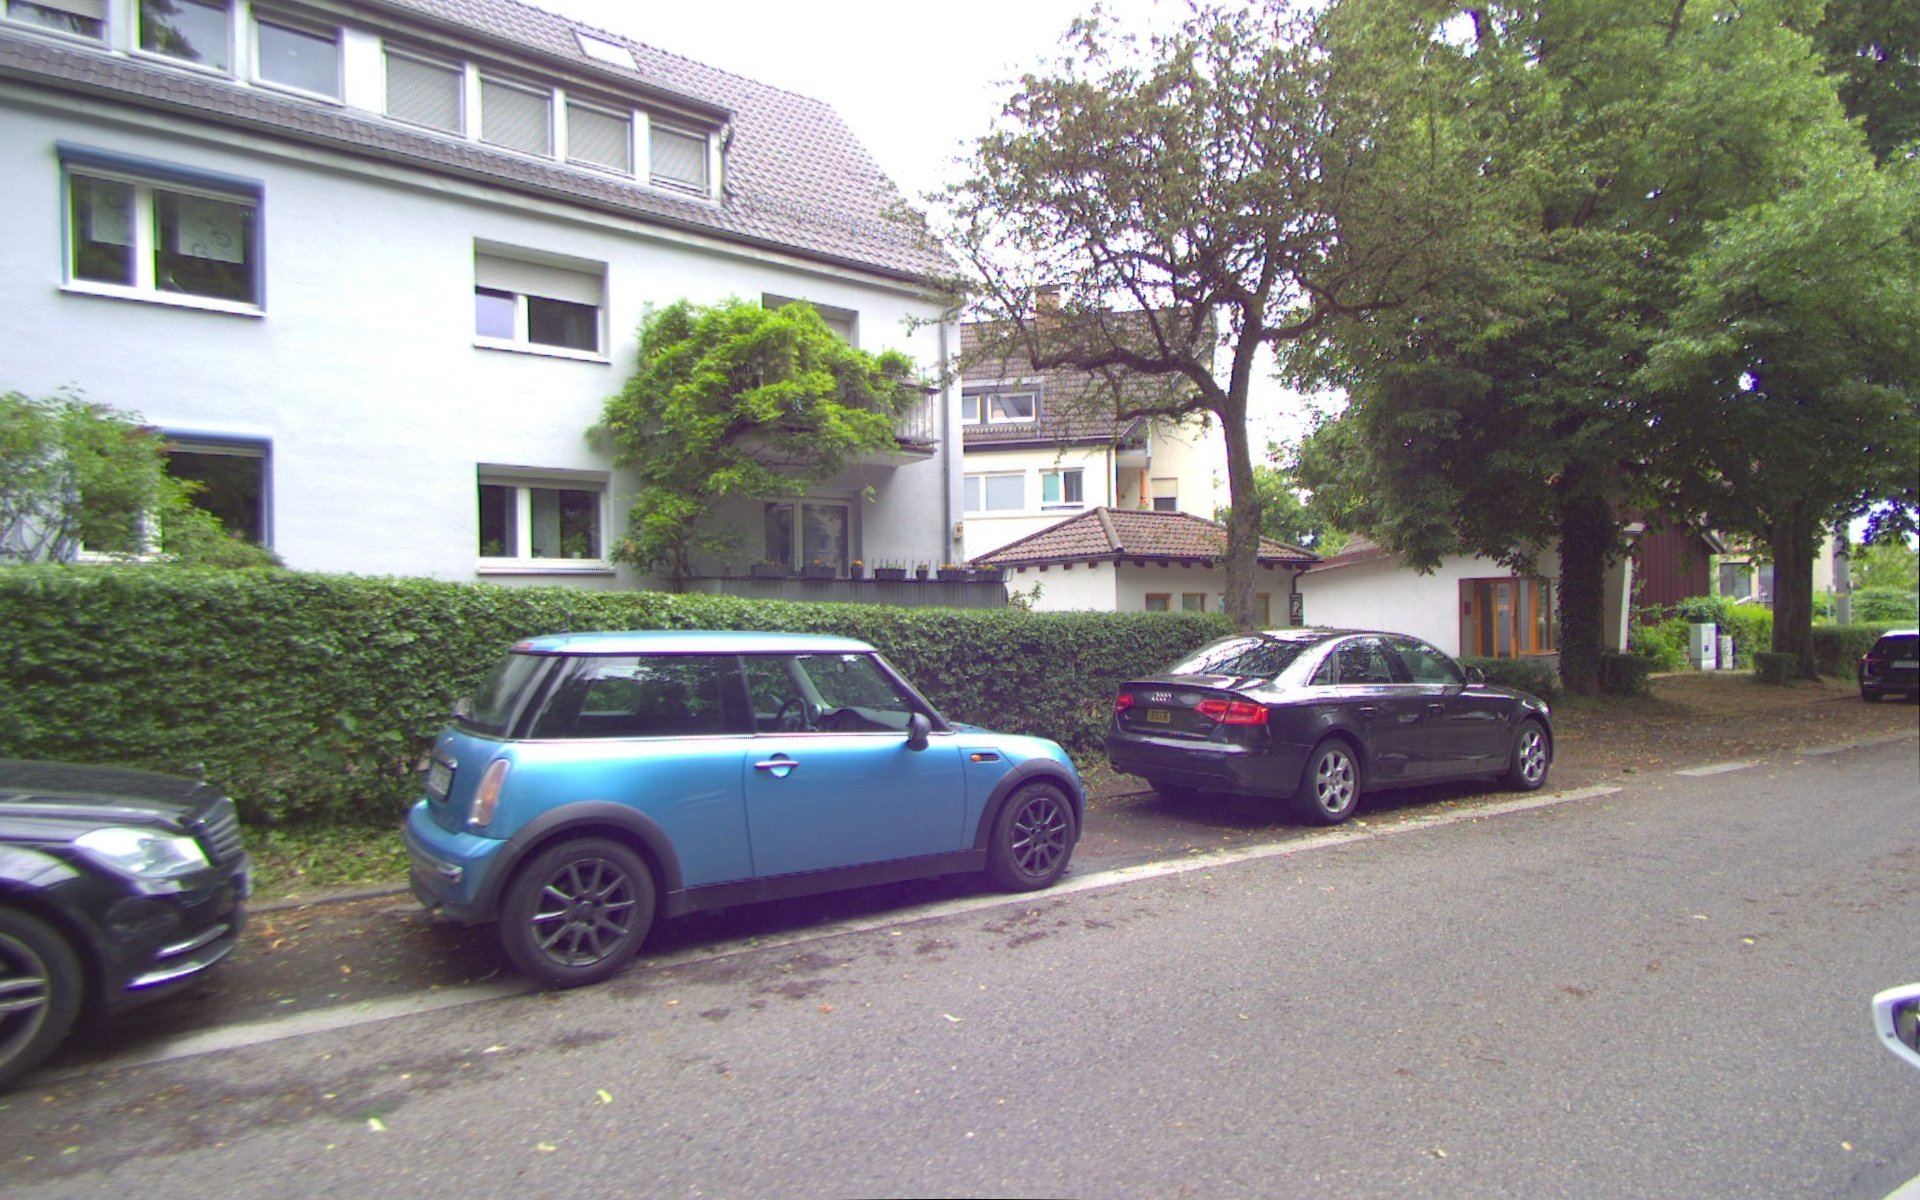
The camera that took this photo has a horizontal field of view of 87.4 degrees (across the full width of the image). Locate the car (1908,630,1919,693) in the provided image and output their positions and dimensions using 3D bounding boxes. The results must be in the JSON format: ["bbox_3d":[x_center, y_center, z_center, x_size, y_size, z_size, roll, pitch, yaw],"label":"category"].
[{"bbox_3d":[24.004,1.415,23.588,4.148,1.434,1.782,1,-2,-36],"label":"car"}]

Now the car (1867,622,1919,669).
[{"bbox_3d":[33.620,1.544,34.130,1.785,1.530,3.955,-1,0,-39],"label":"car"}]

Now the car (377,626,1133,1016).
[{"bbox_3d":[-0.945,0.857,5.435,3.672,1.410,1.653,1,-2,-37],"label":"car"}]

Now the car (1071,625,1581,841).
[{"bbox_3d":[3.293,0.939,8.684,4.596,1.429,1.784,1,-2,-34],"label":"car"}]

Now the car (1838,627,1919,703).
[{"bbox_3d":[19.840,1.293,20.443,4.507,1.429,1.880,2,-3,-34],"label":"car"}]

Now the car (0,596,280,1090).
[{"bbox_3d":[-4.625,0.740,2.865,4.377,1.491,1.781,1,-2,-37],"label":"car"}]
